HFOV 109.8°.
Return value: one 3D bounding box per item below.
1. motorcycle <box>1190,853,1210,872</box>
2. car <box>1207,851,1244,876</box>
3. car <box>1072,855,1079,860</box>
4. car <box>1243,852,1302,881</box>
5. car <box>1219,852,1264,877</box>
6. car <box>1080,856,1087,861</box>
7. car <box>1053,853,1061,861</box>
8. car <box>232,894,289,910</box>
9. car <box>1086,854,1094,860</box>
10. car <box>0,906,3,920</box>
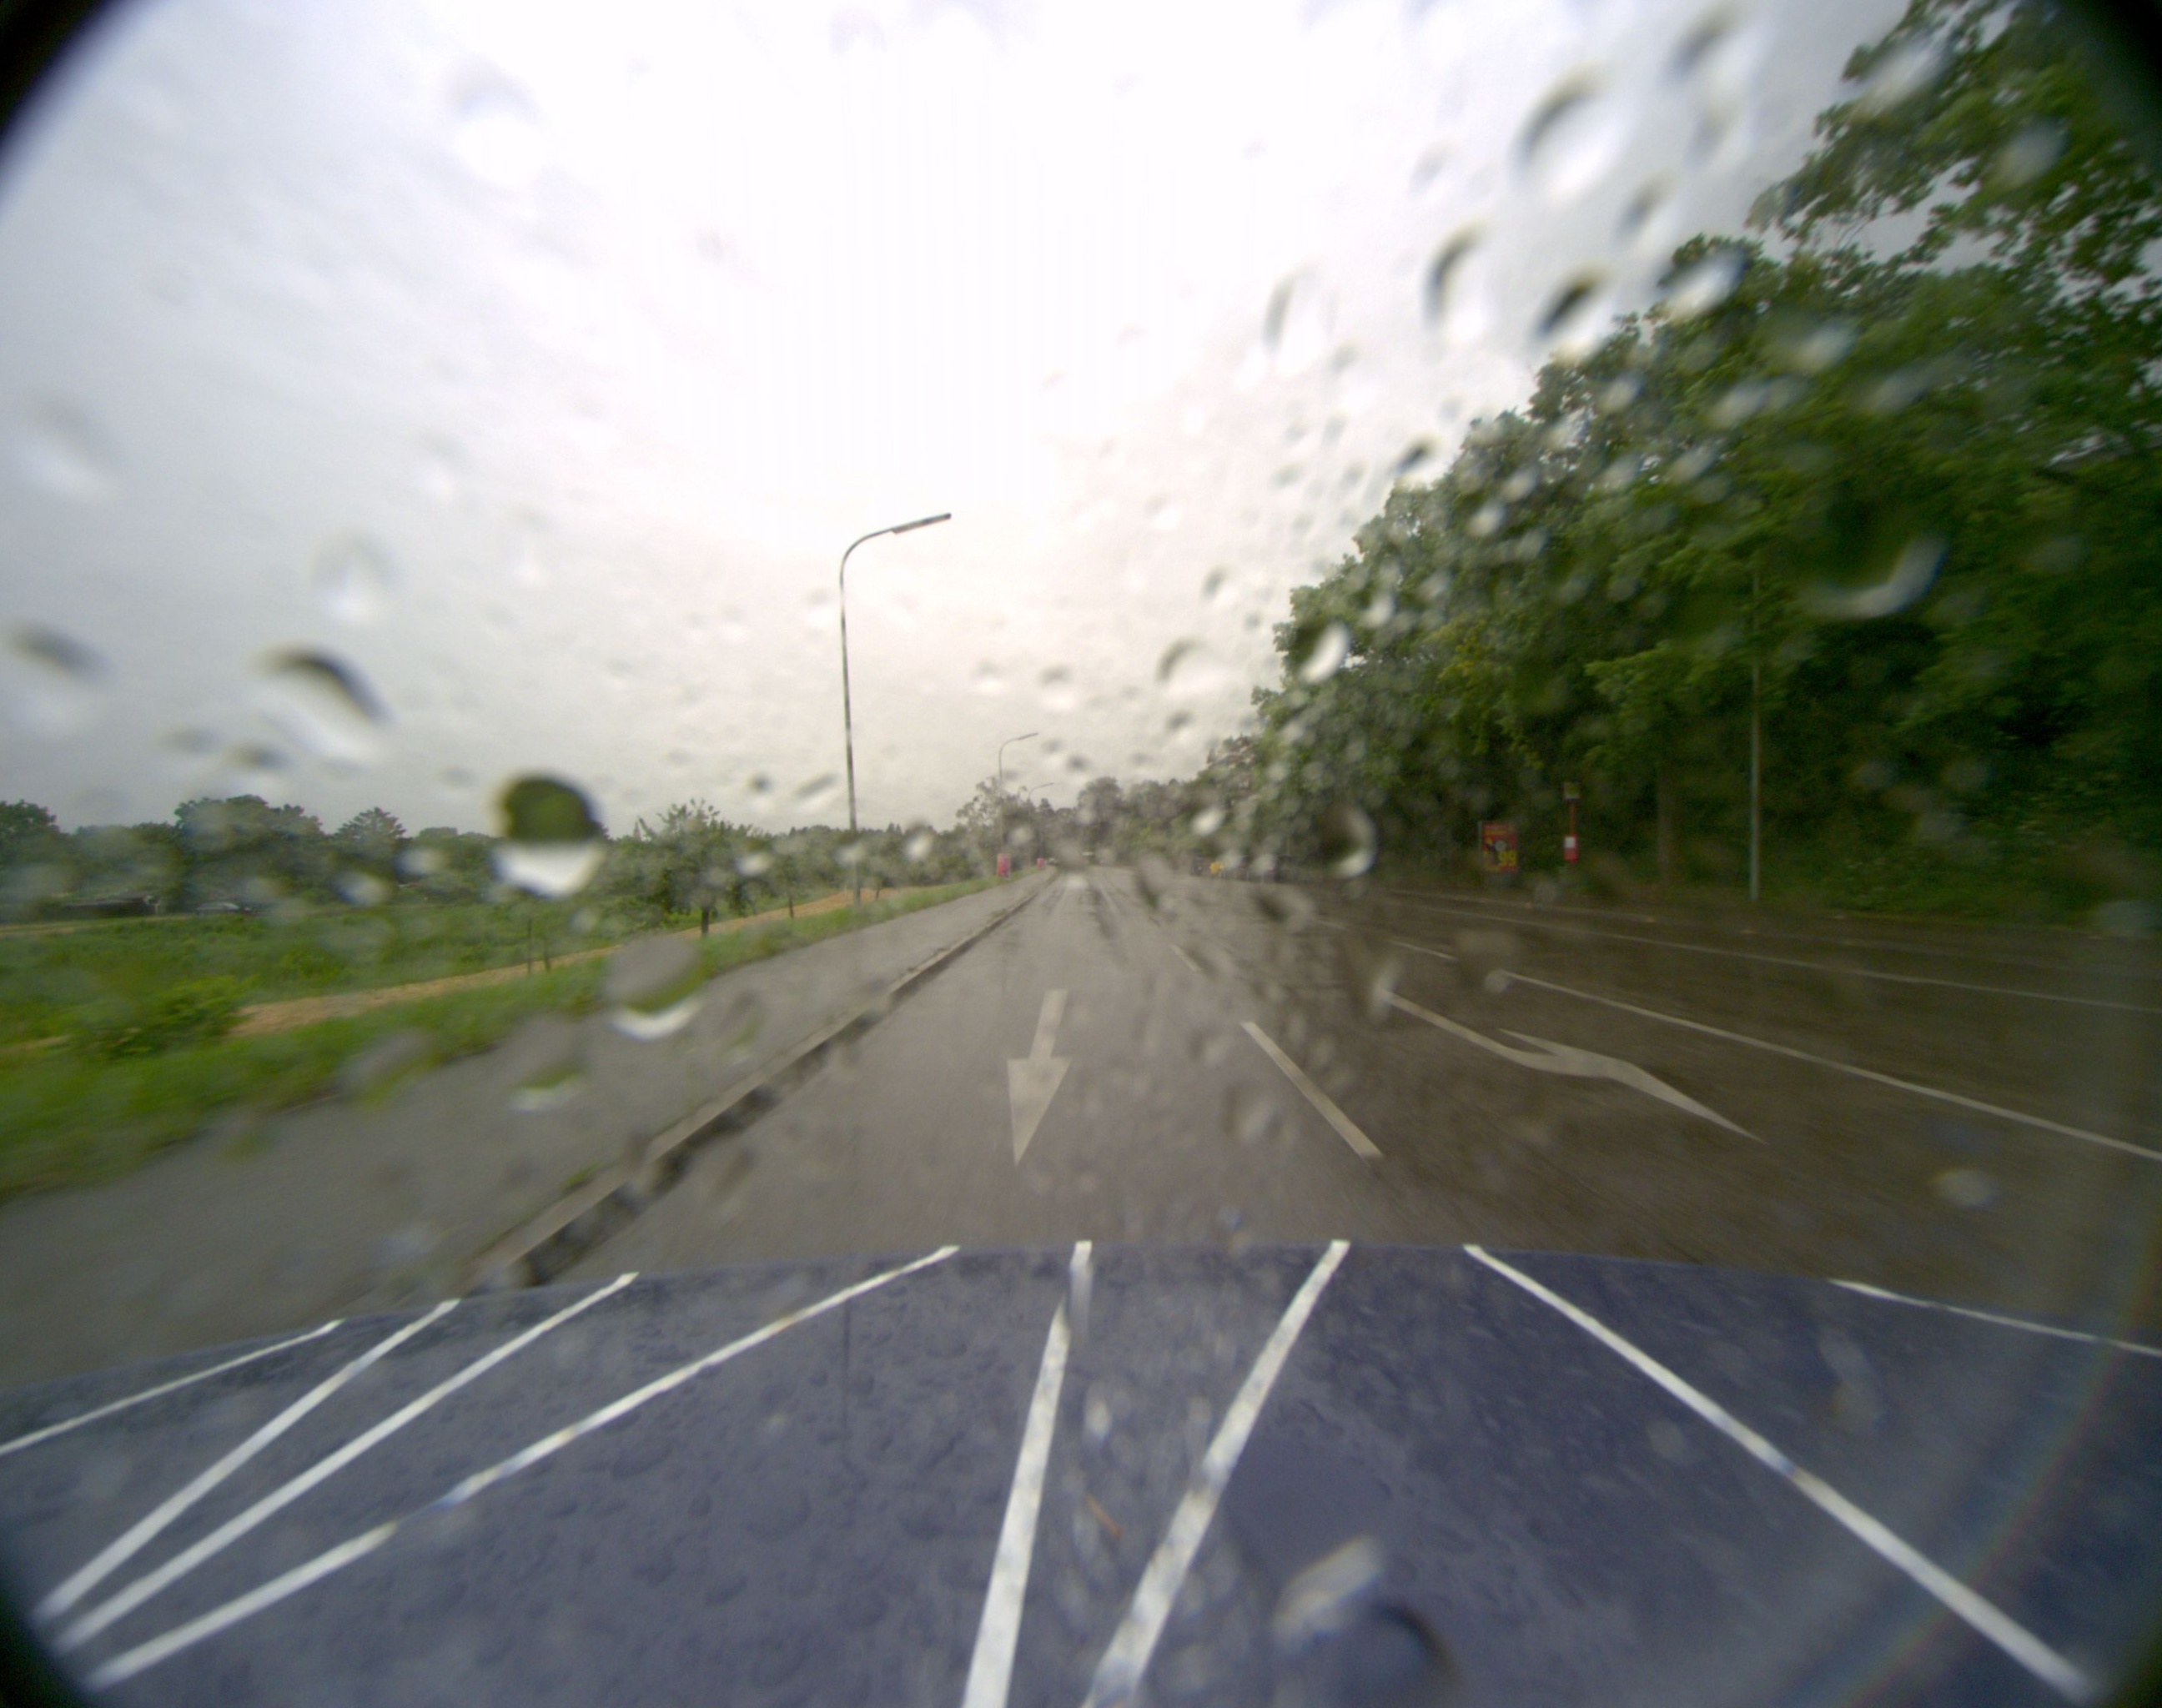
[{"bbox_3d":[8.766,0.628,56.084,0.840,1.333,2.497,-1,0,-7],"label":"motorcycle"},{"bbox_3d":[9.338,0.576,49.213,1.438,1.528,2.817,-1,0,-9],"label":"car"},{"bbox_3d":[-1.777,1.194,239.192,1.853,1.583,3.704,-2,0,-3],"label":"car"},{"bbox_3d":[10.014,0.610,40.012,1.691,1.411,4.739,-1,0,-3],"label":"car"},{"bbox_3d":[9.509,0.607,45.273,1.437,1.411,4.101,-1,0,-5],"label":"car"},{"bbox_3d":[0.646,1.330,222.030,1.853,1.583,3.704,-2,0,-3],"label":"car"},{"bbox_3d":[-6.105,0.795,194.984,1.999,2.001,4.000,-1,-1,-2],"label":"car"},{"bbox_3d":[-90.765,5.260,84.103,3.999,1.502,1.798,-2,1,-8],"label":"car"},{"bbox_3d":[2.326,0.902,203.810,1.853,1.583,3.704,-2,0,-3],"label":"car"},{"bbox_3d":[-109.690,6.012,74.855,1.801,1.501,4.158,-3,1,-18],"label":"car"}]
